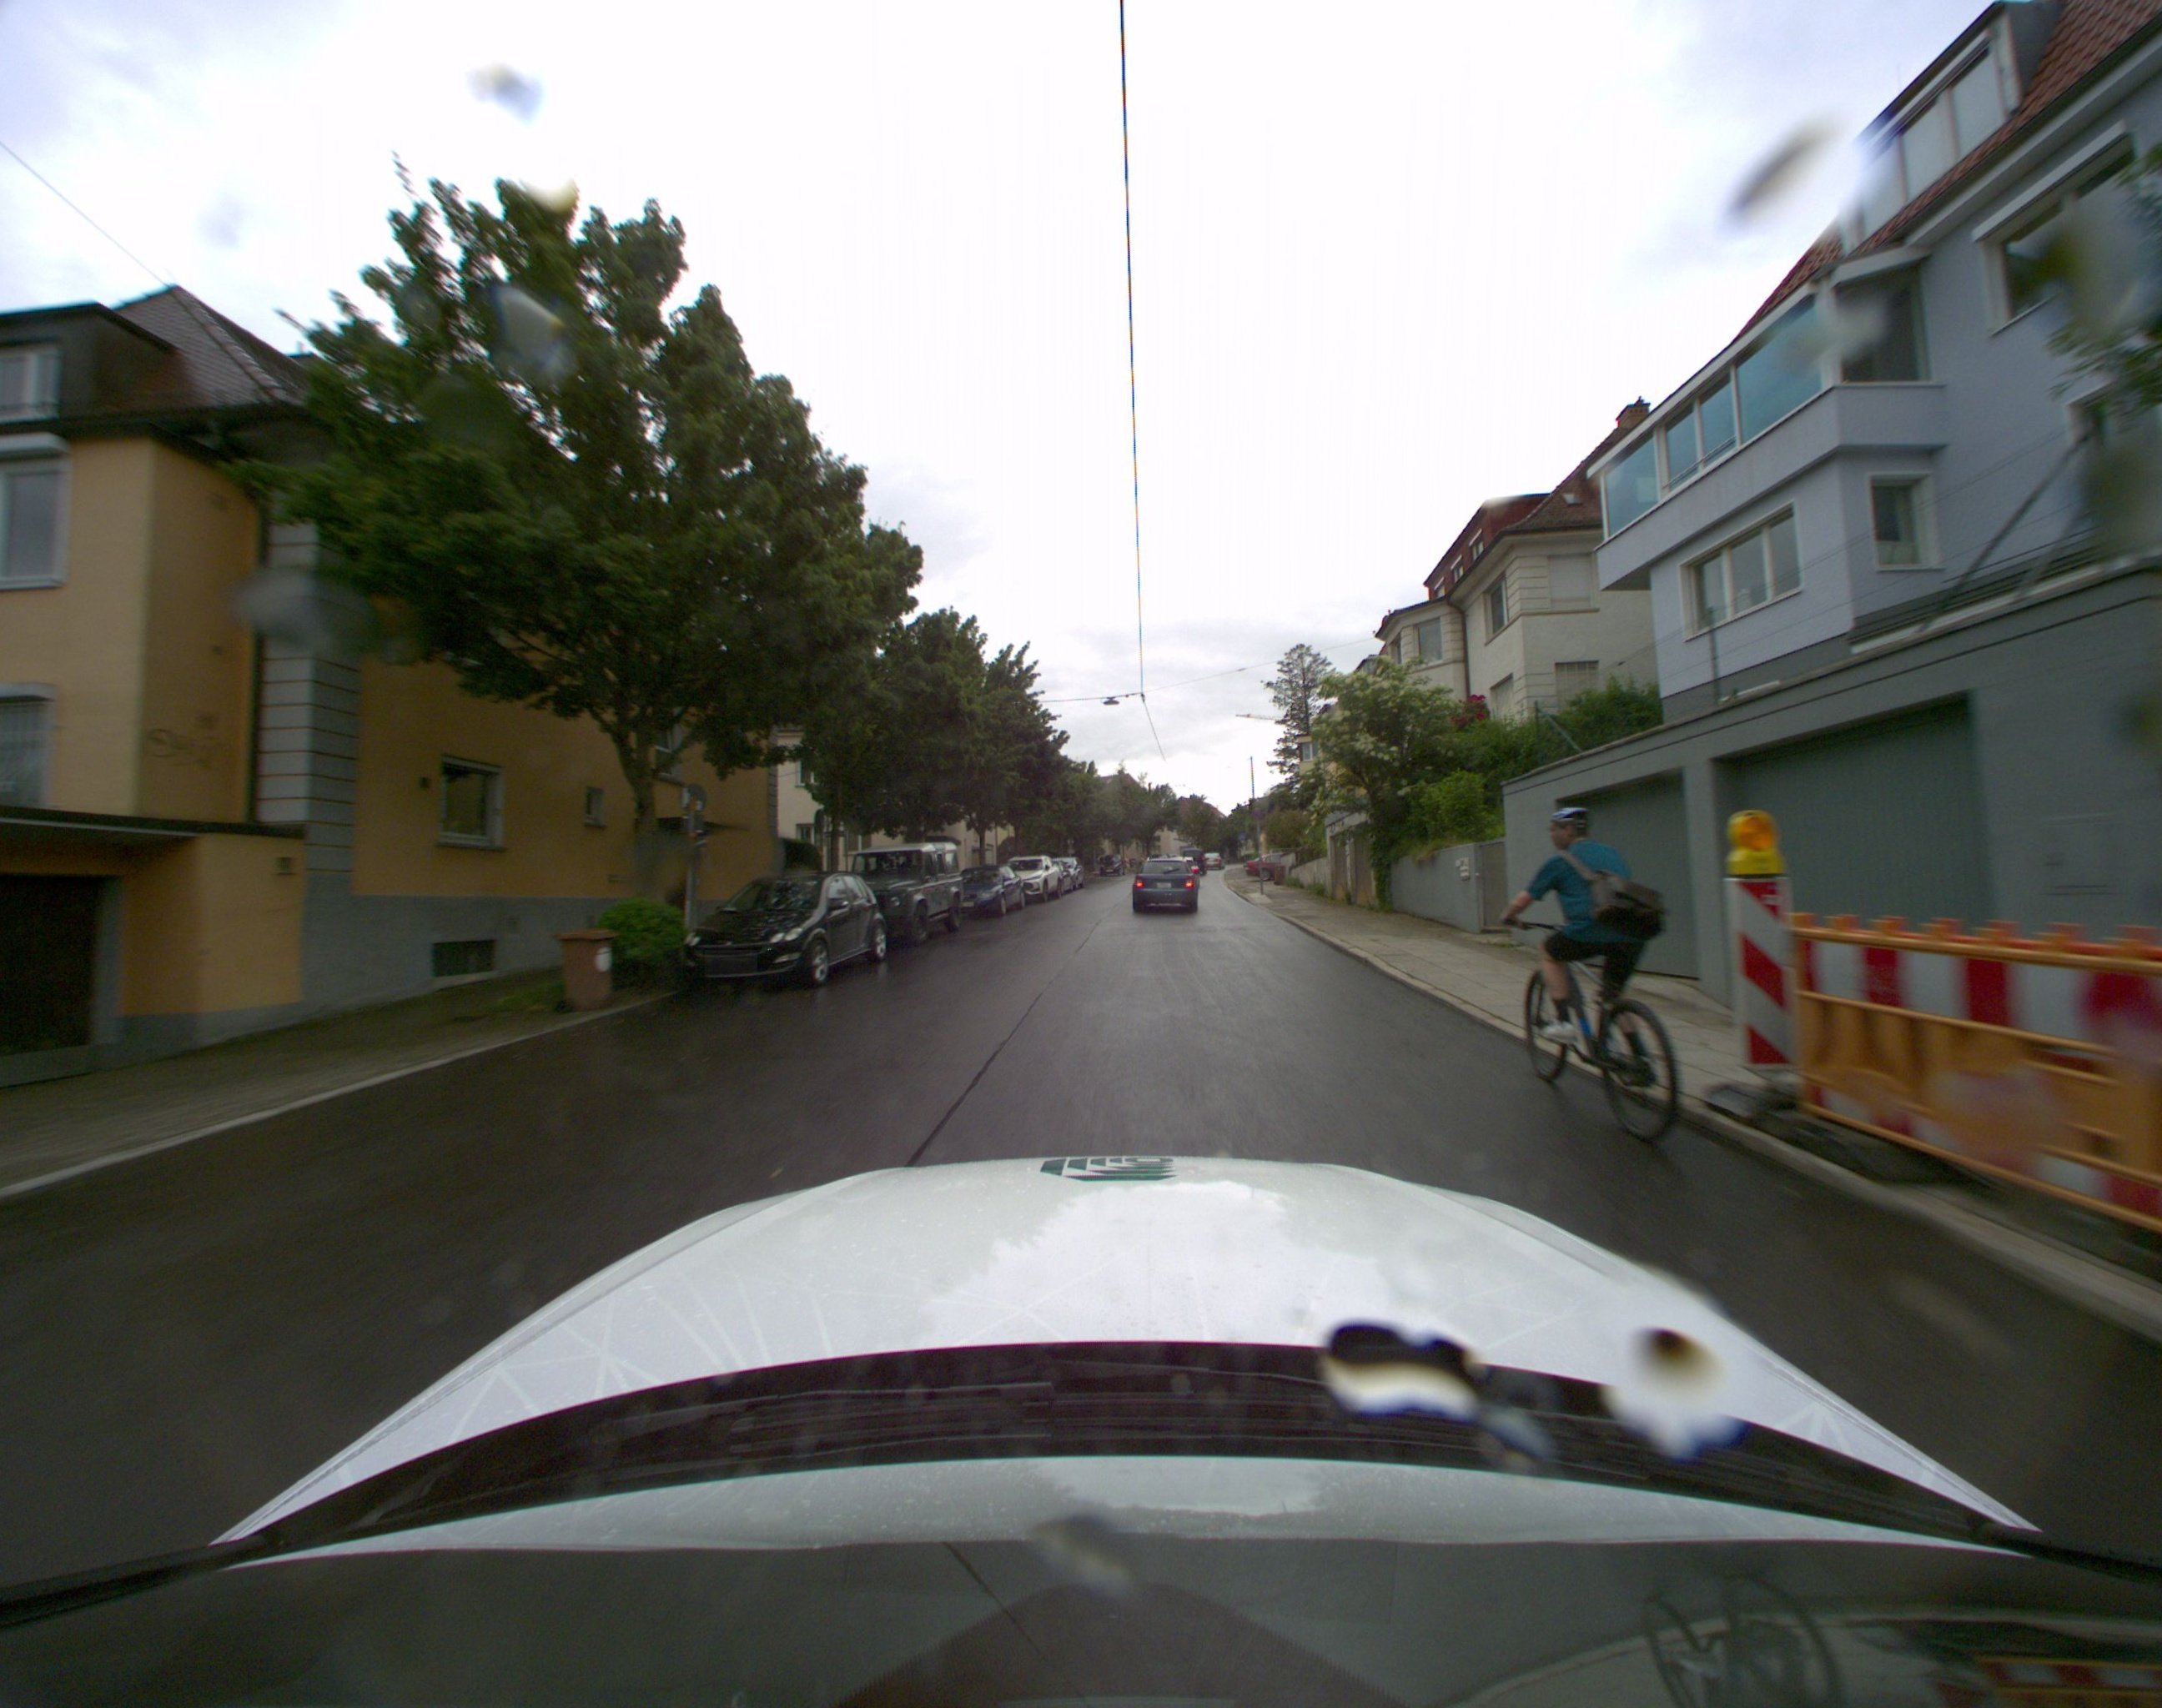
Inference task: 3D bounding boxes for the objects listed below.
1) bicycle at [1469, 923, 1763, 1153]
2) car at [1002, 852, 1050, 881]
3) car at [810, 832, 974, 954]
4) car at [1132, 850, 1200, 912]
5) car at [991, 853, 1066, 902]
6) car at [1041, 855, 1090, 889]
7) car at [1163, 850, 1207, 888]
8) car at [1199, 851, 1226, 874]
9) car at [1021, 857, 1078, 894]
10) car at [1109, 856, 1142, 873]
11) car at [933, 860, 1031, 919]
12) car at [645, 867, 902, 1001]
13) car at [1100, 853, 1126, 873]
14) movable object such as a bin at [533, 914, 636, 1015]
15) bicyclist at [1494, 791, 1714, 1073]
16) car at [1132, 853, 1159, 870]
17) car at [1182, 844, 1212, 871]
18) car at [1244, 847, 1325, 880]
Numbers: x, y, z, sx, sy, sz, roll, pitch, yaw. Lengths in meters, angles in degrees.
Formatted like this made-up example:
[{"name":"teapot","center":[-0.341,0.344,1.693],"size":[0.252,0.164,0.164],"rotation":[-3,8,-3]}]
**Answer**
[{"name":"bicycle","center":[2.985,0.959,4.779],"size":[0.726,0.965,1.673],"rotation":[0,0,5]},{"name":"car","center":[-4.185,0.954,62.334],"size":[3.192,1.740,1.483],"rotation":[-8,0,8]},{"name":"car","center":[-3.710,0.675,16.978],"size":[1.783,2.049,4.788],"rotation":[-5,0,5]},{"name":"car","center":[2.427,0.683,22.786],"size":[1.724,1.466,4.009],"rotation":[1,2,7]},{"name":"car","center":[-1.851,0.827,30.282],"size":[1.758,1.627,4.701],"rotation":[-3,-1,9]},{"name":"car","center":[-0.717,0.867,40.857],"size":[1.758,1.539,4.016],"rotation":[-3,-1,8]},{"name":"car","center":[5.125,0.659,39.640],"size":[1.963,1.635,4.247],"rotation":[1,2,9]},{"name":"car","center":[11.557,0.723,71.289],"size":[1.720,1.768,4.254],"rotation":[1,2,17]},{"name":"car","center":[-1.318,0.908,35.684],"size":[1.758,1.473,4.016],"rotation":[-3,-1,8]},{"name":"car","center":[4.916,1.154,89.703],"size":[3.181,1.372,1.488],"rotation":[-9,0,24]},{"name":"car","center":[-2.813,0.979,24.268],"size":[1.759,1.387,4.643],"rotation":[-3,1,7]},{"name":"car","center":[-4.137,0.985,11.838],"size":[1.760,1.436,4.351],"rotation":[-3,0,4]},{"name":"car","center":[2.376,0.645,60.172],"size":[1.466,1.295,3.230],"rotation":[1,2,10]},{"name":"movable object such as a bin","center":[-5.774,1.269,9.509],"size":[0.681,1.011,0.708],"rotation":[-6,0,-2]},{"name":"bicyclist","center":[2.970,0.412,4.722],"size":[0.722,1.472,0.887],"rotation":[-1,0,4]},{"name":"car","center":[6.128,0.684,77.516],"size":[1.720,1.466,4.018],"rotation":[1,2,17]},{"name":"car","center":[8.233,0.185,57.691],"size":[1.721,1.768,4.251],"rotation":[1,2,13]},{"name":"car","center":[10.621,0.479,42.727],"size":[3.961,1.466,1.745],"rotation":[-3,1,11]}]
